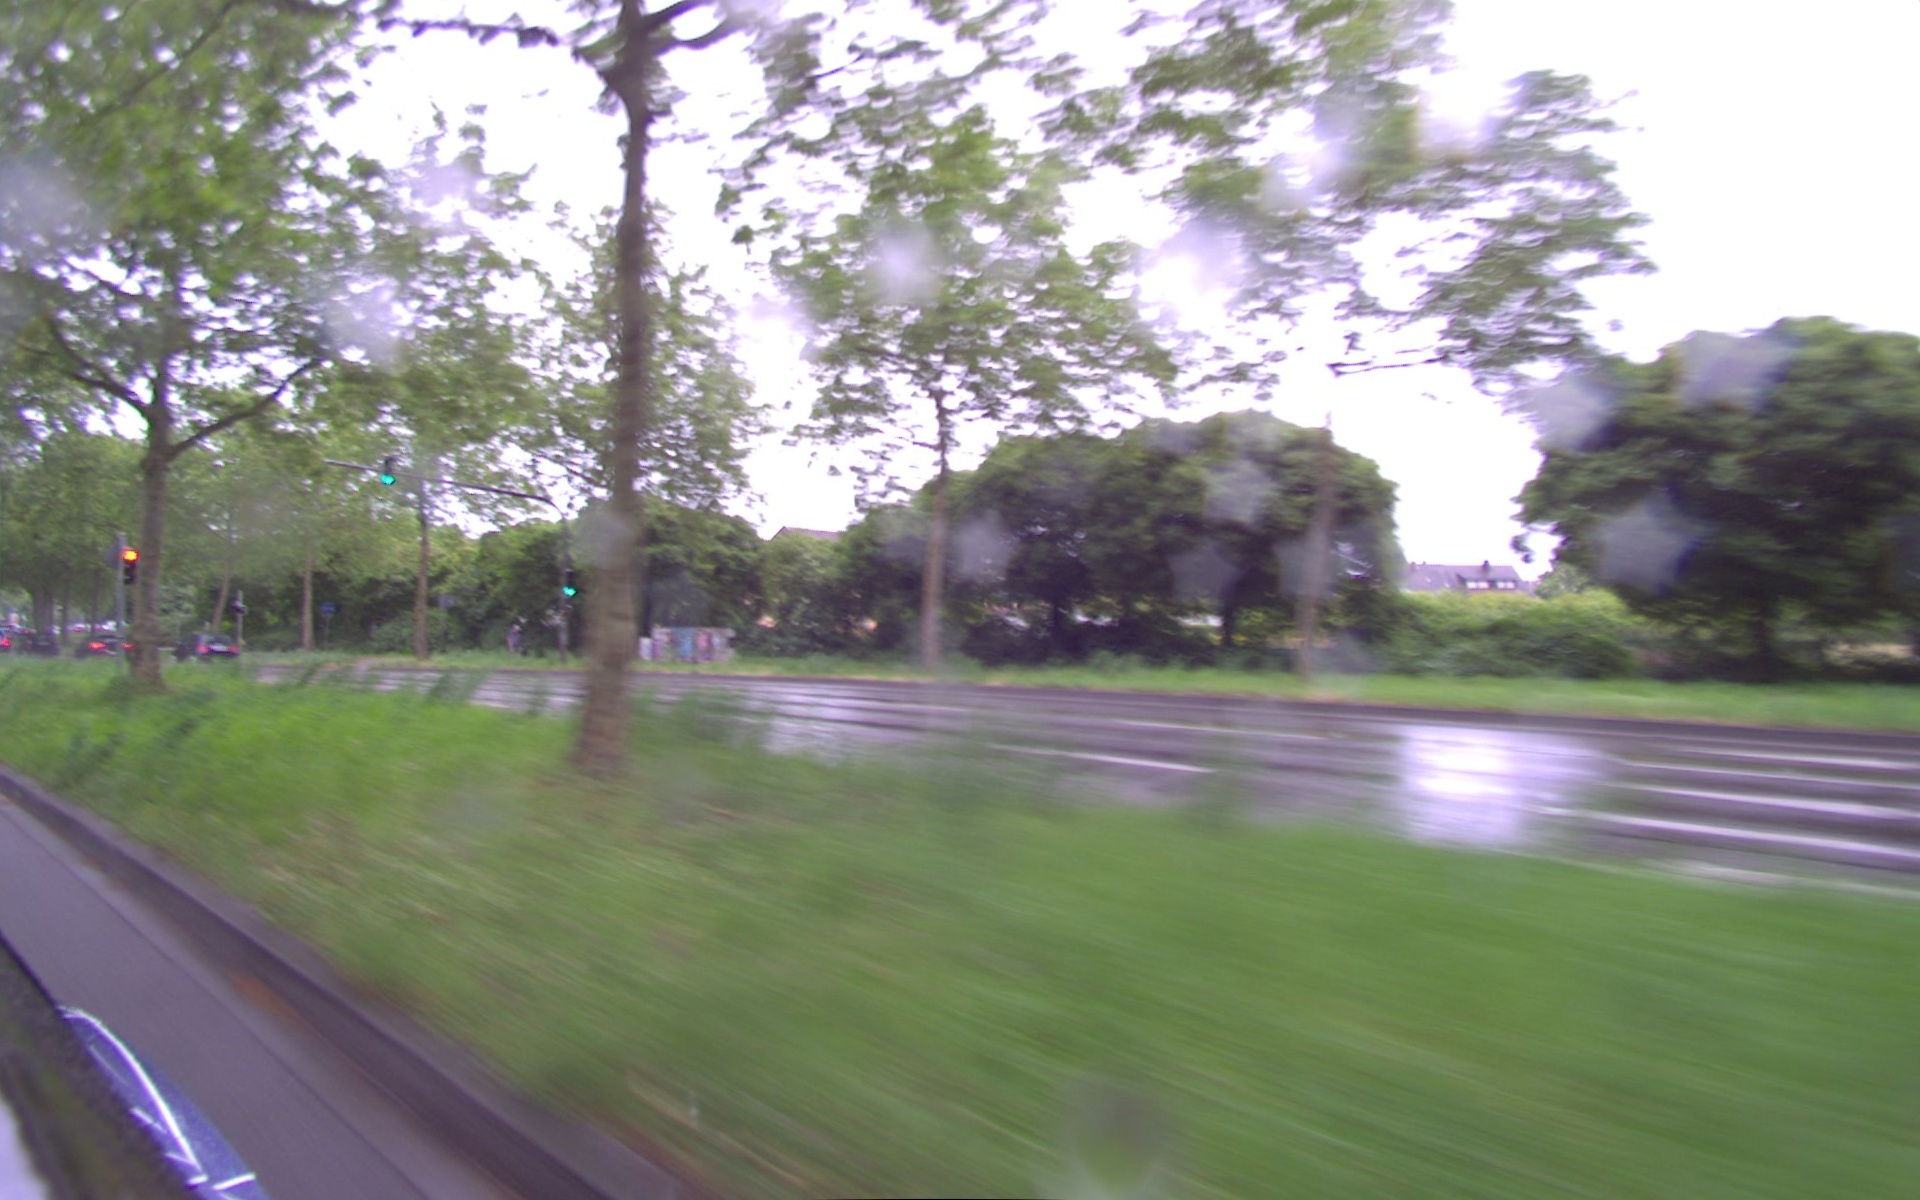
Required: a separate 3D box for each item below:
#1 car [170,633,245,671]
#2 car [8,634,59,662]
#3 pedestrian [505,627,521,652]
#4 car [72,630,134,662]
[{"bbox_3d":[-32.936,2.223,44.263,3.996,1.567,1.762,-1,-2,40],"label":"car"},{"bbox_3d":[-56.190,2.884,61.346,3.996,1.567,1.762,-1,-2,40],"label":"car"},{"bbox_3d":[-18.848,1.667,42.666,0.441,1.048,0.469,-2,-2,43],"label":"pedestrian"},{"bbox_3d":[-44.286,2.346,52.263,3.996,1.567,1.762,-1,-2,40],"label":"car"}]
